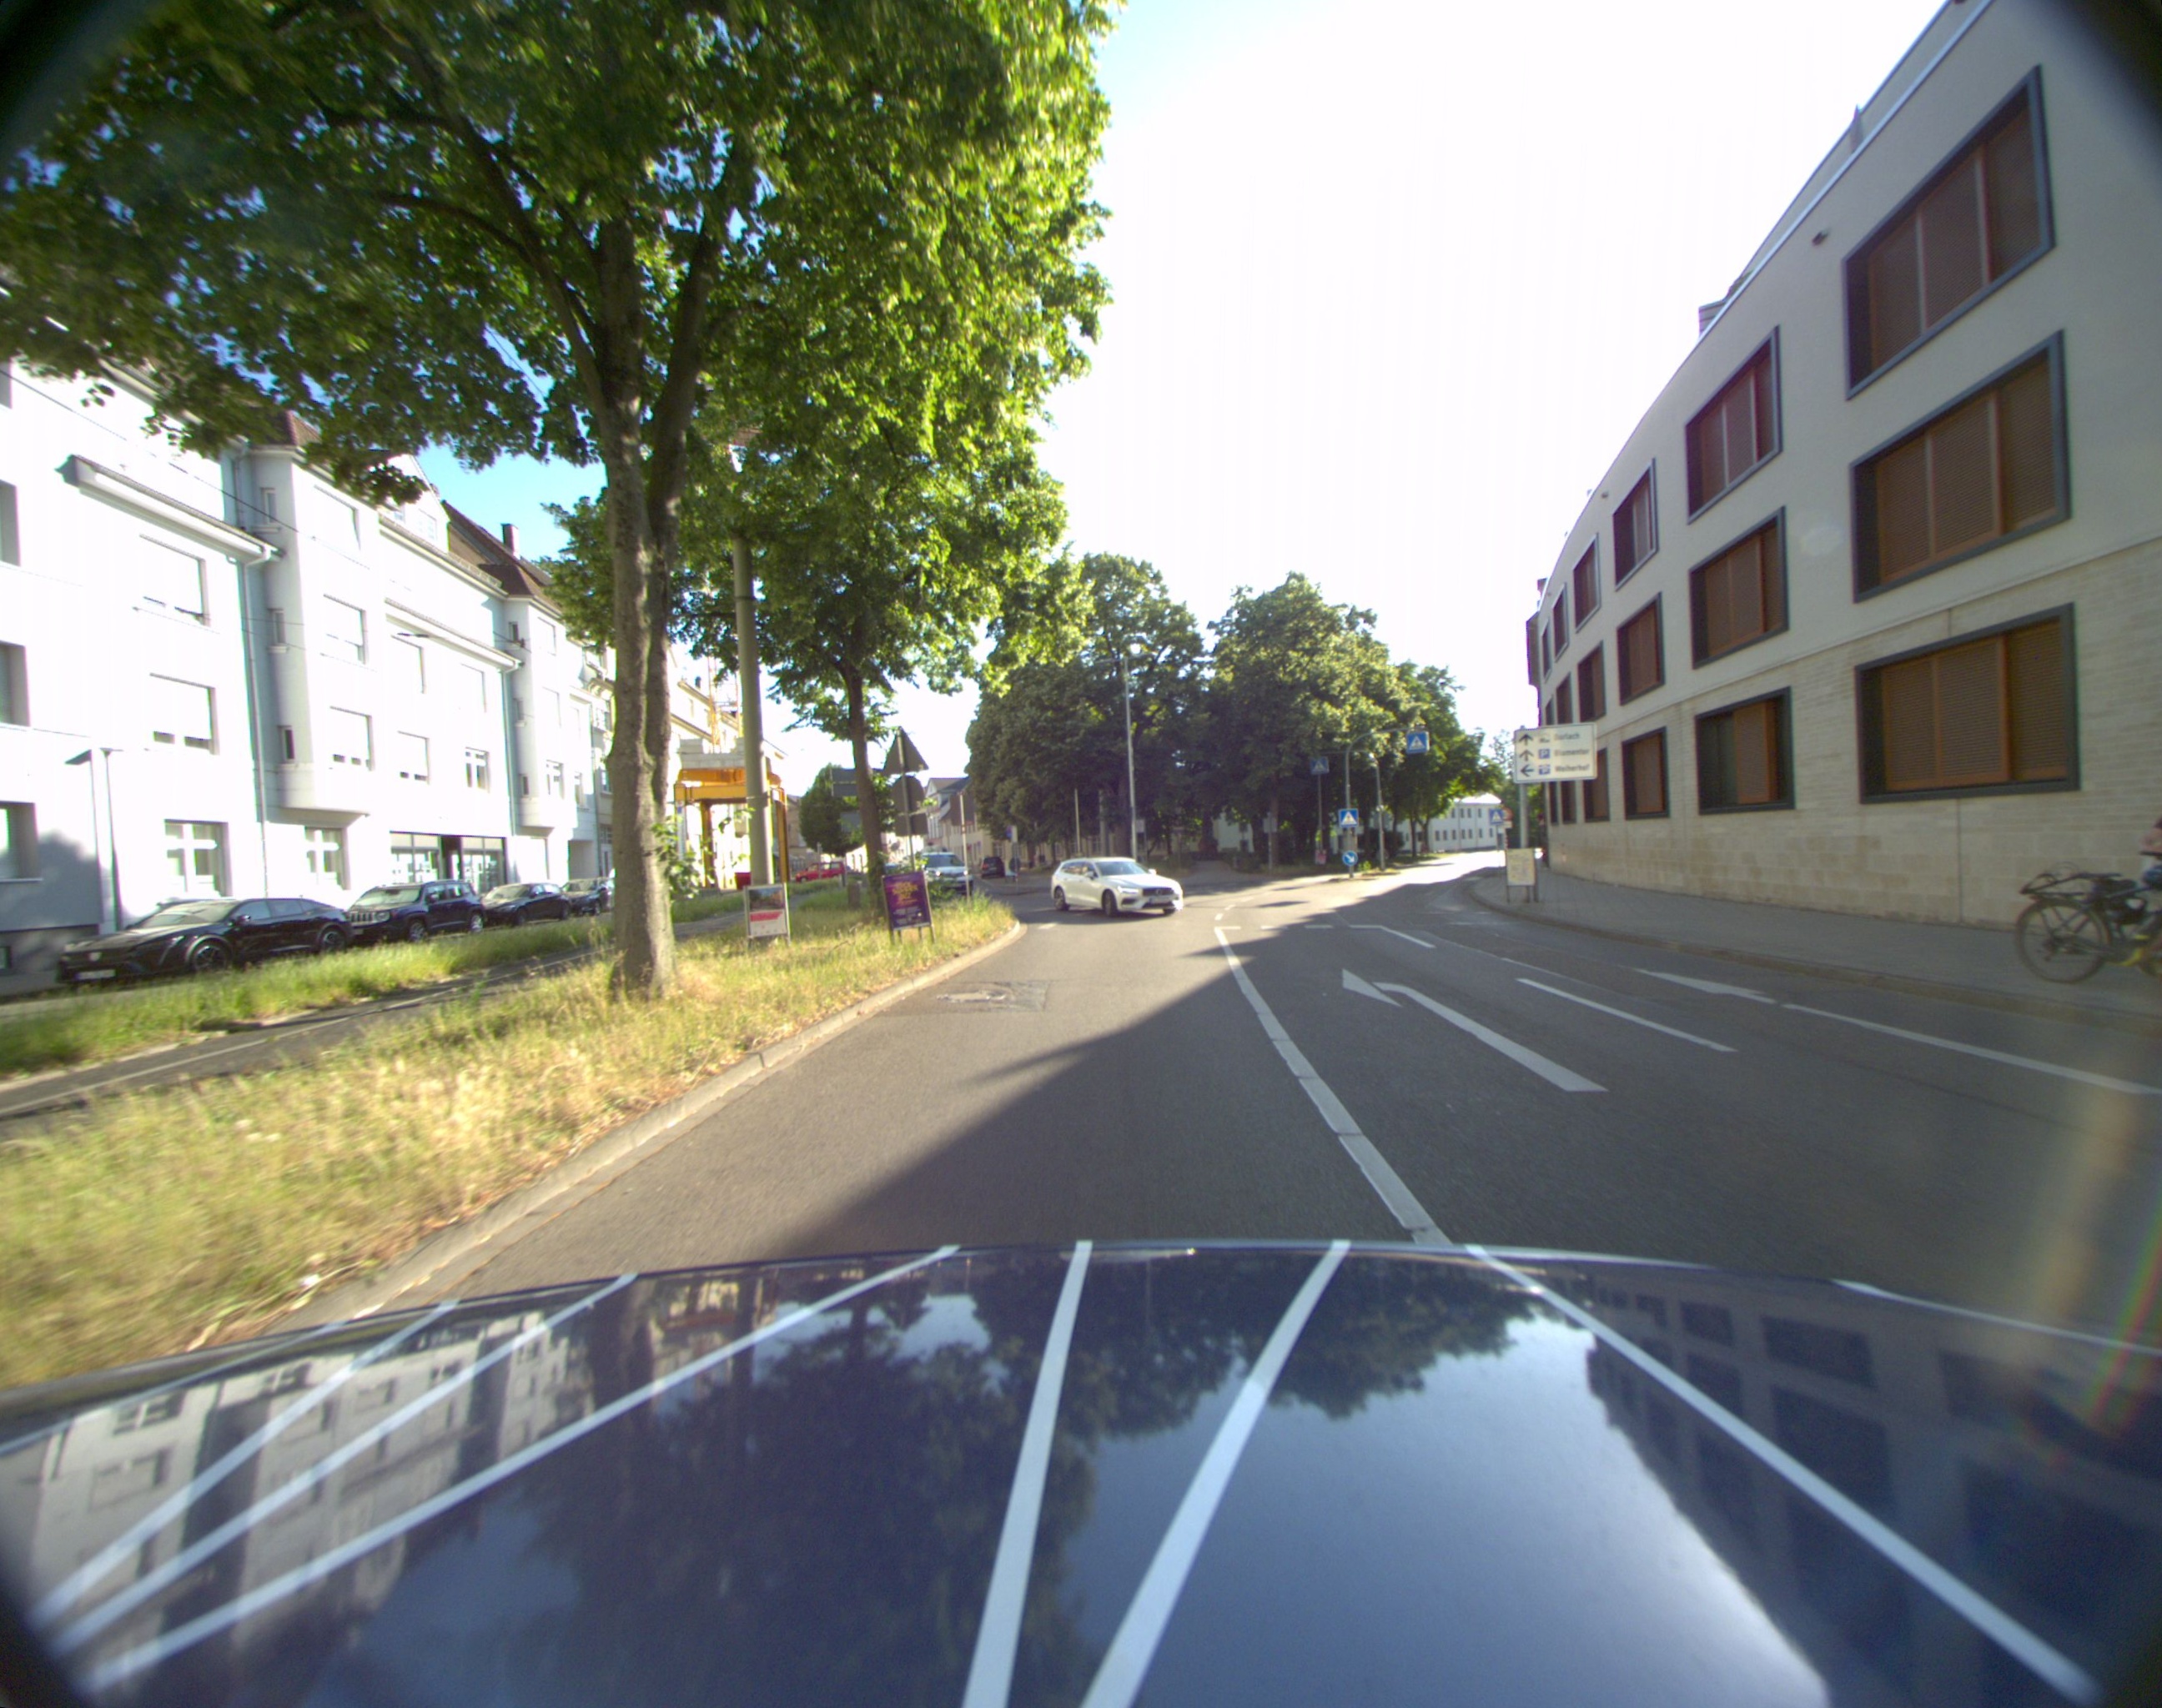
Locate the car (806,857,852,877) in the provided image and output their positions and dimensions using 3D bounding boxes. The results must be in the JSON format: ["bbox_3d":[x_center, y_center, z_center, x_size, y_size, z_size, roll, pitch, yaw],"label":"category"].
[{"bbox_3d":[-25.030,1.288,75.509,4.073,1.910,1.998,-2,0,-13],"label":"car"}]

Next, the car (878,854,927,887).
[{"bbox_3d":[-8.675,0.782,36.649,2.001,1.436,4.066,-2,0,-17],"label":"car"}]

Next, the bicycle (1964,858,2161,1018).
[{"bbox_3d":[8.260,0.626,5.971,0.441,1.171,1.968,-3,-1,6],"label":"bicycle"}]

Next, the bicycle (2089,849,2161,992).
[{"bbox_3d":[8.965,0.555,5.873,0.376,1.160,1.839,-2,0,17],"label":"bicycle"}]

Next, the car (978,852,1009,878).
[{"bbox_3d":[-6.685,0.773,57.871,2.000,1.783,3.996,-4,1,-10],"label":"car"}]

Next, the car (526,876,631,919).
[{"bbox_3d":[-19.805,1.669,30.163,2.000,1.444,4.093,-2,0,-11],"label":"car"}]

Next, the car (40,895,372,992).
[{"bbox_3d":[-16.999,1.638,15.206,2.000,1.378,4.442,-2,0,-11],"label":"car"}]

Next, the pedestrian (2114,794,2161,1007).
[{"bbox_3d":[8.534,0.351,5.790,0.474,1.638,0.603,-3,0,14],"label":"pedestrian"}]

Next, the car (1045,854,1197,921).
[{"bbox_3d":[0.864,0.815,19.846,1.857,1.455,4.763,-2,0,-26],"label":"car"}]

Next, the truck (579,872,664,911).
[{"bbox_3d":[-20.991,1.681,34.929,2.000,1.576,4.093,-2,0,-11],"label":"truck"}]

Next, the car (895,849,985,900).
[{"bbox_3d":[-5.851,0.825,31.068,2.003,1.843,4.891,-2,0,-30],"label":"car"}]

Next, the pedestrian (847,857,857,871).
[{"bbox_3d":[-33.835,1.424,112.324,1.357,2.002,1.156,-2,1,-19],"label":"pedestrian"}]

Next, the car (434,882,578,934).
[{"bbox_3d":[-18.897,1.716,25.264,2.000,1.378,4.206,-2,0,-8],"label":"car"}]

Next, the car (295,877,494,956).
[{"bbox_3d":[-18.009,1.547,20.258,2.000,1.738,4.205,-2,0,-11],"label":"car"}]
